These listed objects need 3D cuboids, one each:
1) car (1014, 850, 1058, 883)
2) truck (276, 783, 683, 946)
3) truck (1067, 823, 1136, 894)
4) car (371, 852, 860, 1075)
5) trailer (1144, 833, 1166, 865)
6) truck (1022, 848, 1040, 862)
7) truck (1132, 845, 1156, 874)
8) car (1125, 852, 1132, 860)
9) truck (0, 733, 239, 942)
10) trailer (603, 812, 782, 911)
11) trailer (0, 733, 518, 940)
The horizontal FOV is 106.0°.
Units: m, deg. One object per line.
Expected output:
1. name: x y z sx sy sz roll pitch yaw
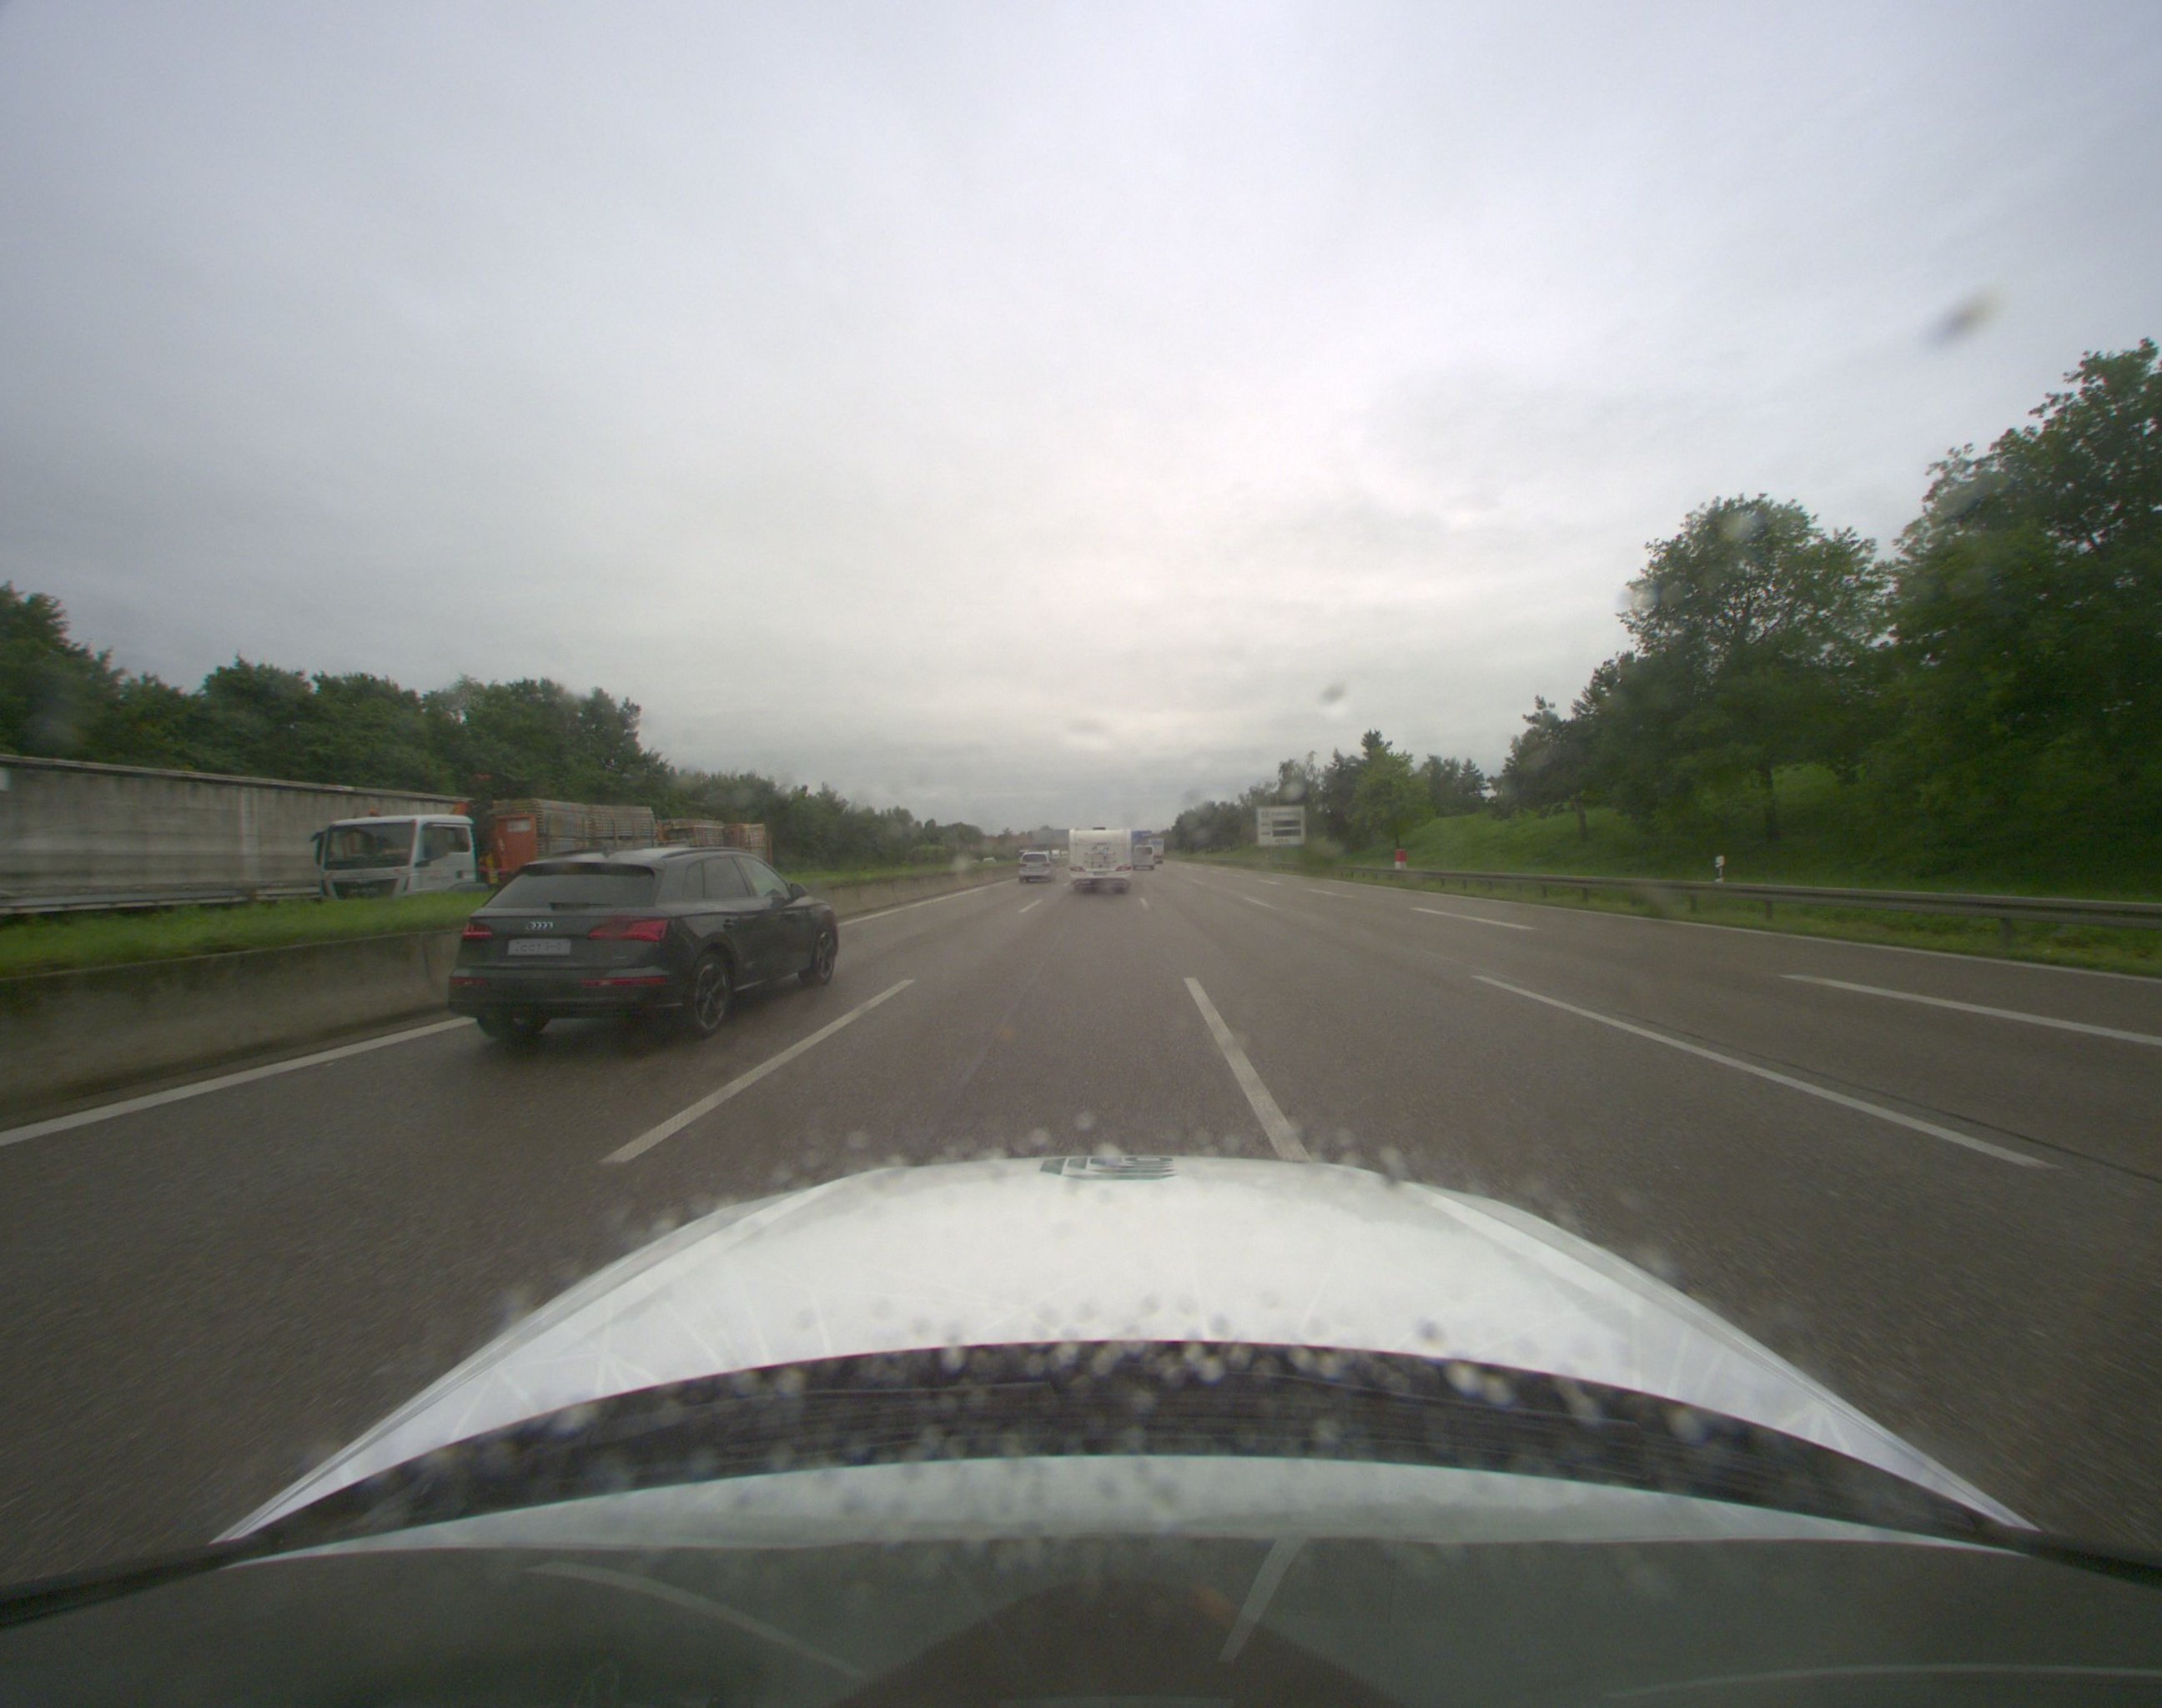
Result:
1. car: -2.486 0.676 46.247 2.120 1.706 4.114 -1 0 2
2. truck: -15.598 0.271 23.023 2.940 3.466 11.188 0 0 2
3. truck: 0.853 0.197 34.029 2.651 2.742 5.079 0 -1 2
4. car: -4.045 0.808 8.425 1.986 1.600 5.125 0 0 2
5. trailer: 11.942 -0.771 132.806 3.087 4.922 11.799 0 -1 3
6. truck: -11.734 0.279 190.732 2.872 3.221 11.367 0 0 3
7. truck: 6.135 0.563 79.636 2.045 2.770 5.551 0 -1 2
8. car: 13.568 0.587 231.275 1.985 2.014 4.003 0 -1 3
9. truck: -19.639 -0.268 14.229 2.656 3.551 6.763 0 -1 1
10. trailer: -15.220 0.294 32.846 2.920 3.459 8.324 0 -1 2
11. trailer: -19.414 -0.246 19.873 2.675 3.540 11.877 0 0 2
